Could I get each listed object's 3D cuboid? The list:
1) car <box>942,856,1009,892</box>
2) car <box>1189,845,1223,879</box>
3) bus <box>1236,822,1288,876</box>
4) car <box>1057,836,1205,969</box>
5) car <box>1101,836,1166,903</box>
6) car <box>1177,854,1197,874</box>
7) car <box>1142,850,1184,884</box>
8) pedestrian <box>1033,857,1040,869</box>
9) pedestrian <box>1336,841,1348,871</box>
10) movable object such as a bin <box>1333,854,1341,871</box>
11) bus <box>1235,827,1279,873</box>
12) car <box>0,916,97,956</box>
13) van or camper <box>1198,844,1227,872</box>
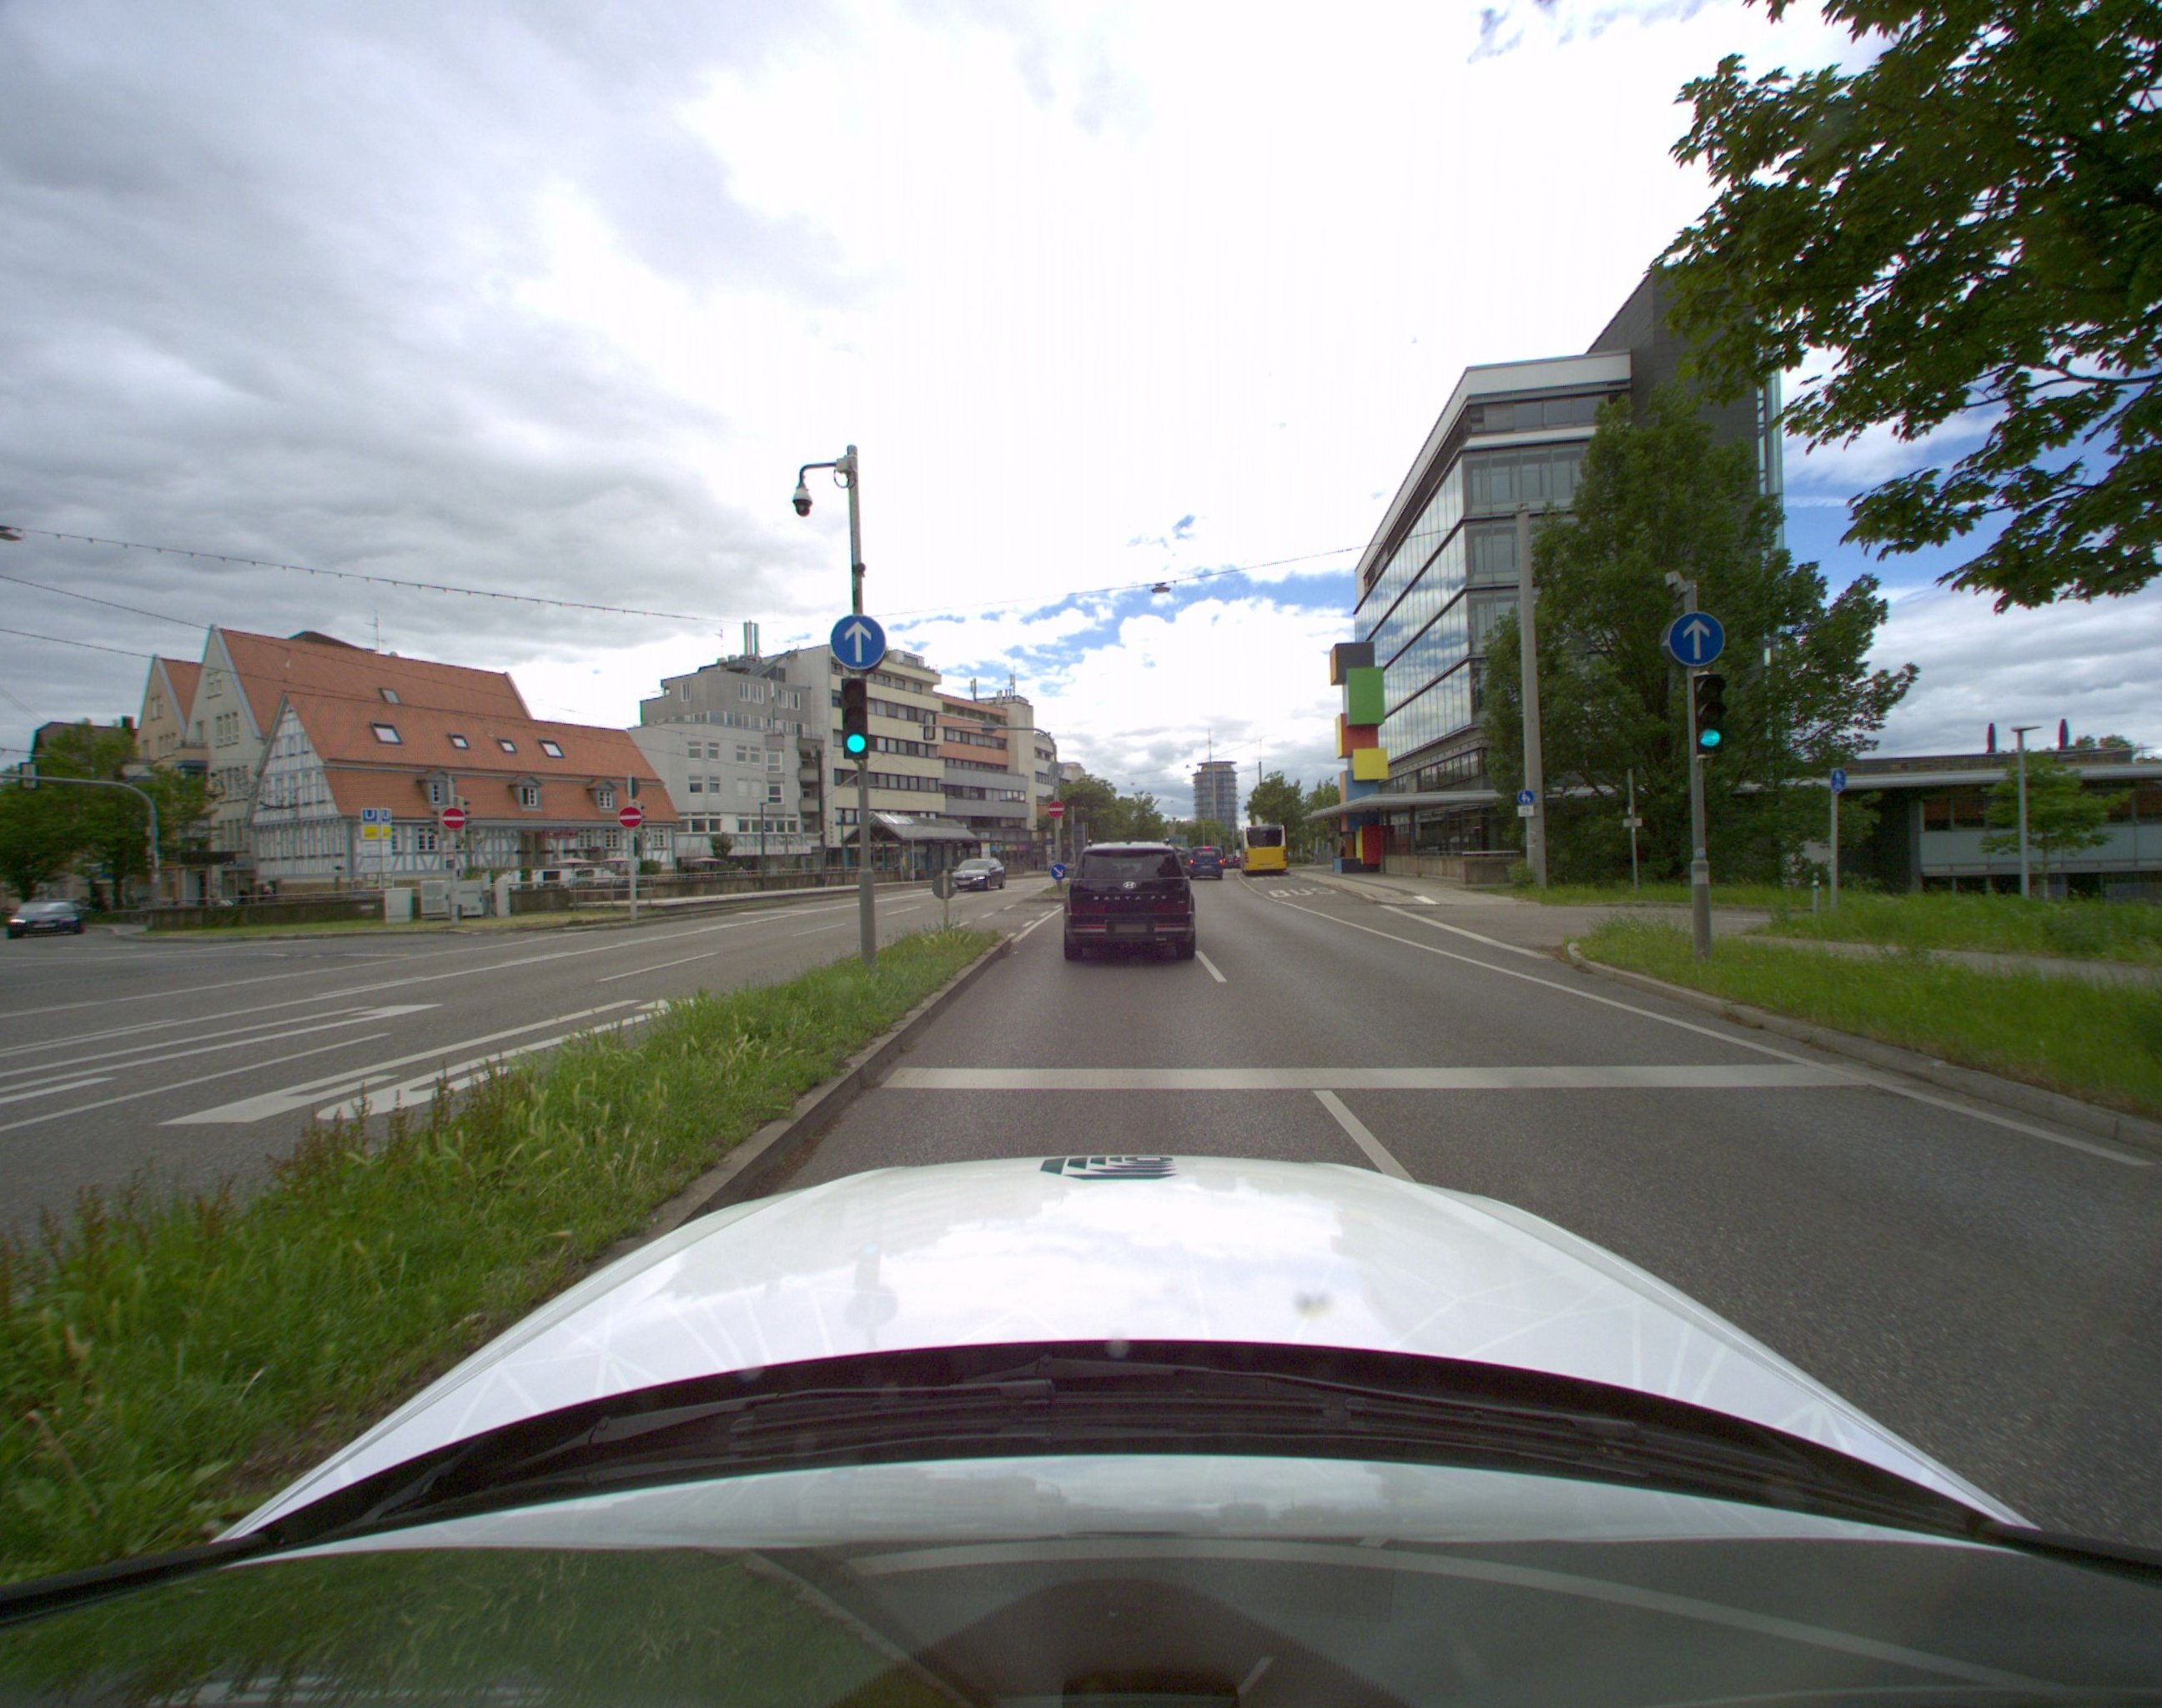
[{"bbox_3d":[-4.637,0.855,36.525,1.788,1.455,4.623,-2,0,8],"label":"car"},{"bbox_3d":[7.263,0.414,47.664,1.892,1.859,4.719,0,1,7],"label":"car"},{"bbox_3d":[11.796,-0.289,53.798,2.947,3.116,9.271,-3,-1,11],"label":"bus"},{"bbox_3d":[0.602,0.607,12.957,1.897,1.731,4.442,0,1,-3],"label":"car"},{"bbox_3d":[1.685,0.425,26.393,1.894,1.968,4.640,0,1,3],"label":"car"},{"bbox_3d":[10.920,0.994,83.585,1.890,1.859,4.722,0,1,9],"label":"car"},{"bbox_3d":[4.038,0.623,40.640,1.894,1.542,4.714,0,1,4],"label":"car"},{"bbox_3d":[-6.295,1.341,115.905,0.723,1.673,0.586,-2,-1,32],"label":"pedestrian"},{"bbox_3d":[14.795,0.114,46.199,0.521,1.673,0.735,-2,-1,10],"label":"pedestrian"},{"bbox_3d":[14.330,0.477,45.644,0.354,0.898,0.463,-2,-1,10],"label":"movable object such as a bin"},{"bbox_3d":[13.549,-0.294,63.177,2.933,3.111,10.006,-3,-1,11],"label":"bus"},{"bbox_3d":[-40.706,3.169,32.050,3.860,1.295,1.999,-2,0,32],"label":"car"},{"bbox_3d":[9.692,0.239,60.259,1.983,1.917,4.418,-1,1,7],"label":"van or camper"}]
